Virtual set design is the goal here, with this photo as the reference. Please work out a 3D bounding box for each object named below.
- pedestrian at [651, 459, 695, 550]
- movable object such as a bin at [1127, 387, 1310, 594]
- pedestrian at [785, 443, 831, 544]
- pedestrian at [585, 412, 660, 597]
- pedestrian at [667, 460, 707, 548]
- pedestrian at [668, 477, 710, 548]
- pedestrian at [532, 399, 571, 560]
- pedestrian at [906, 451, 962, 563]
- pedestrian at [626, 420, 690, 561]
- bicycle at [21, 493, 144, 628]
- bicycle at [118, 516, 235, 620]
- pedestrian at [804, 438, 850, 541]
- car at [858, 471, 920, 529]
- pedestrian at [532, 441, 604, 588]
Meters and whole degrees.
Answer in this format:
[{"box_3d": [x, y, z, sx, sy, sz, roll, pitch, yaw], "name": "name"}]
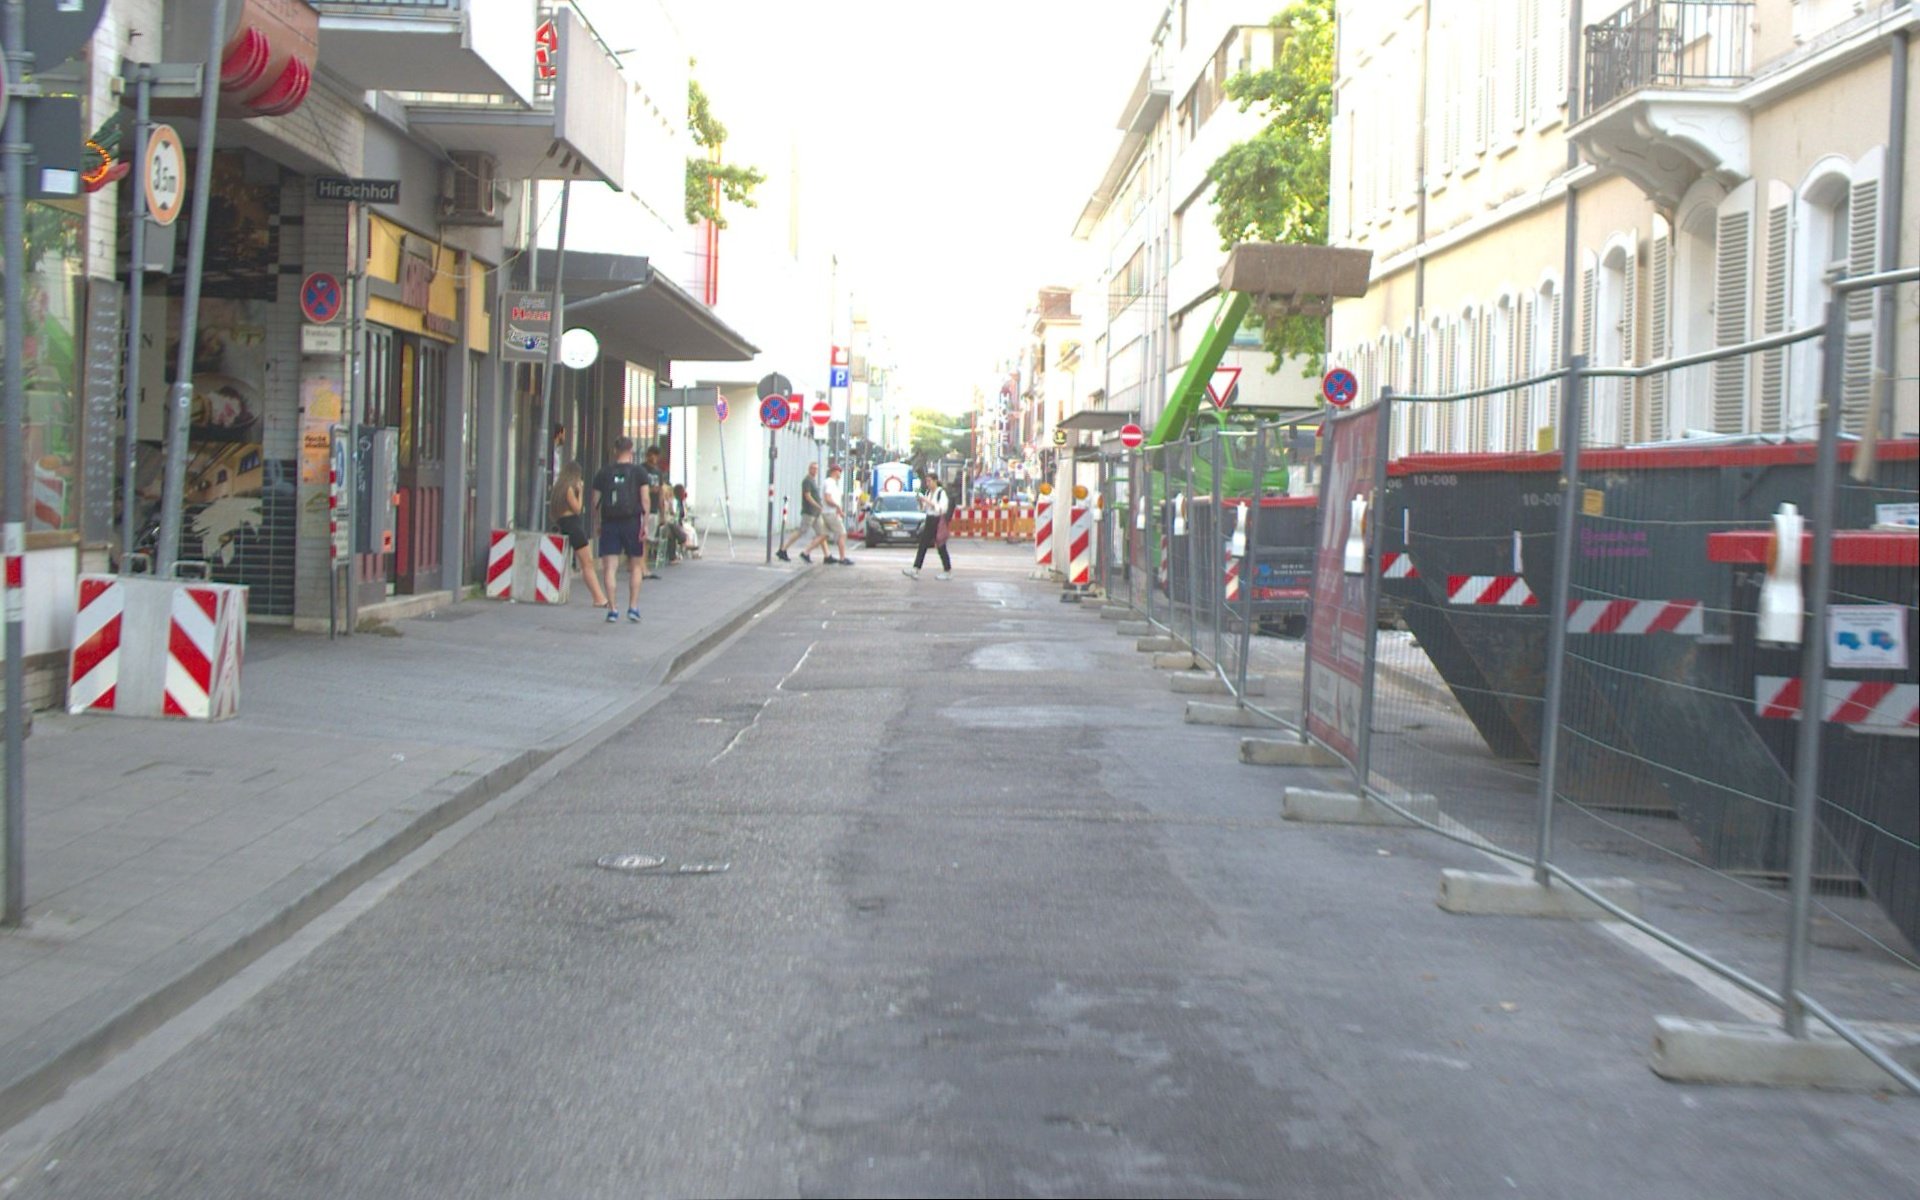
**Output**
[{"box_3d": [-4.485, -1.499, 53.710, 0.558, 1.386, 0.893, 2, 2, 0], "name": "pedestrian"}, {"box_3d": [4.135, -1.824, 55.741, 2.470, 3.119, 4.298, 3, 3, 0], "name": "movable object such as a bin"}, {"box_3d": [-2.745, -1.922, 62.142, 0.645, 1.803, 0.631, 1, 2, -16], "name": "pedestrian"}, {"box_3d": [-3.352, -0.951, 34.205, 0.629, 1.802, 0.647, 2, 2, 1], "name": "pedestrian"}, {"box_3d": [-4.339, -1.527, 54.674, 0.542, 1.383, 0.625, 2, 2, 0], "name": "pedestrian"}, {"box_3d": [-4.529, -1.465, 57.516, 0.618, 1.167, 0.788, 2, 2, -1], "name": "pedestrian"}, {"box_3d": [-5.164, -1.525, 43.432, 0.410, 2.006, 0.454, 2, 2, -3], "name": "pedestrian"}, {"box_3d": [-0.408, -1.475, 54.285, 0.720, 1.734, 0.647, 2, 2, 10], "name": "pedestrian"}, {"box_3d": [-4.092, -1.483, 46.594, 0.573, 1.880, 0.655, 2, 2, 23], "name": "pedestrian"}, {"box_3d": [-6.934, -0.329, 27.232, 0.522, 1.006, 1.747, 2, 2, 0], "name": "bicycle"}, {"box_3d": [-6.164, -0.262, 27.120, 0.522, 0.758, 1.747, 2, 2, 0], "name": "bicycle"}, {"box_3d": [-2.370, -1.974, 61.194, 0.645, 1.803, 0.631, 1, 2, -16], "name": "pedestrian"}, {"box_3d": [-1.782, -2.544, 87.176, 1.474, 1.393, 3.332, 2, 2, 0], "name": "car"}, {"box_3d": [-4.231, -0.926, 37.078, 0.645, 1.559, 0.631, 1, 2, -15], "name": "pedestrian"}]
